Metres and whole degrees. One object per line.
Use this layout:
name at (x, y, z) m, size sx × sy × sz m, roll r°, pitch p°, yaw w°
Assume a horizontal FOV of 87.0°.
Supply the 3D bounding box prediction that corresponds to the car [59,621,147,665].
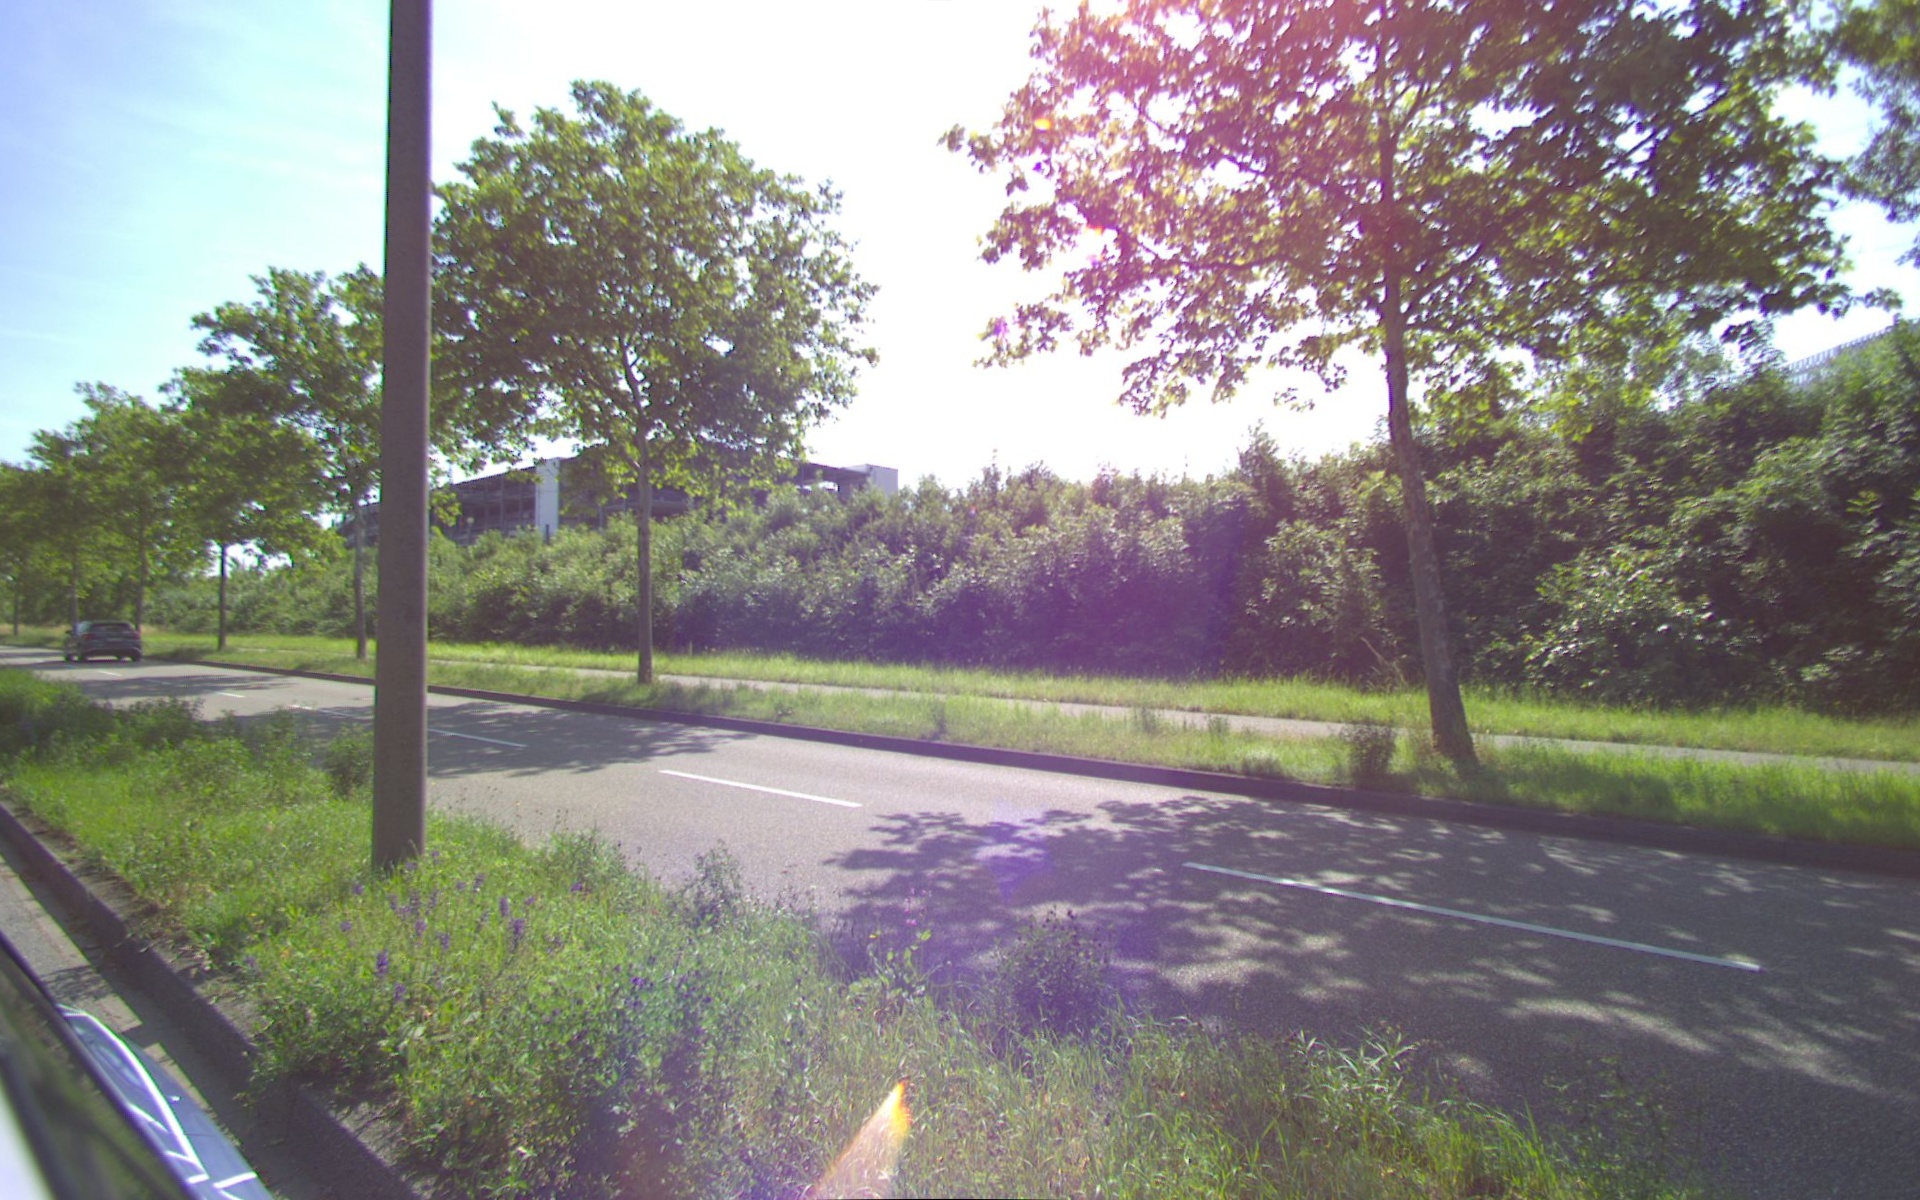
car at (-31.591, 1.551, 37.264) m, size 3.935 × 1.478 × 1.844 m, roll 0°, pitch -1°, yaw 40°
